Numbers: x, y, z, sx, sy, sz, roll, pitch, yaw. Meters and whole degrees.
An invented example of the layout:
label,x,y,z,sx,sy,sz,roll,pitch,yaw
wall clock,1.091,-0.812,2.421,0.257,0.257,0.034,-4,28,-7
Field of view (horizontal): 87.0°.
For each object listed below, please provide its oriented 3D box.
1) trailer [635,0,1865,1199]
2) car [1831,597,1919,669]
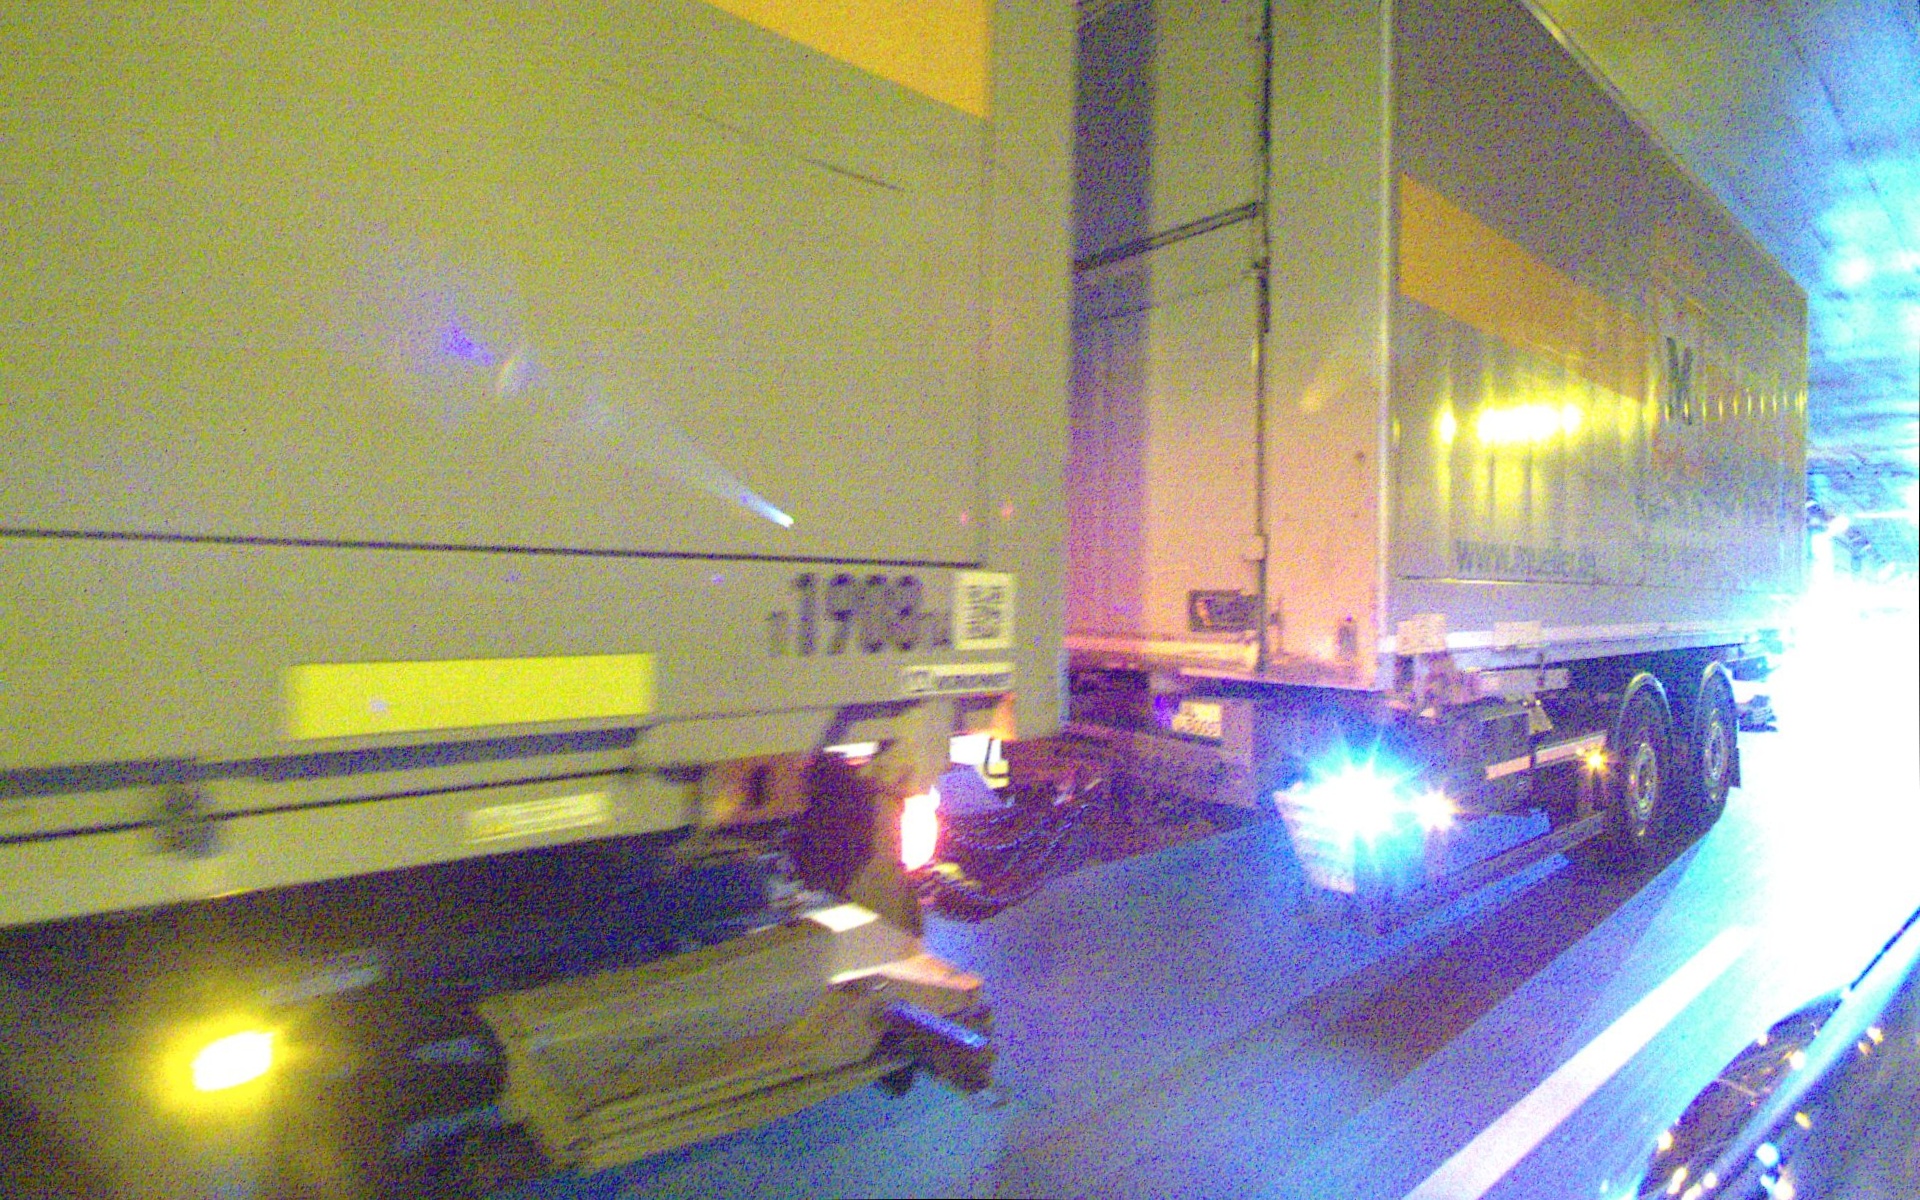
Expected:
label,x,y,z,sx,sy,sz,roll,pitch,yaw
trailer,2.863,-0.624,6.141,8.792,3.906,2.880,0,1,-42
car,20.434,0.663,22.075,3.734,1.421,1.733,-1,0,-42
